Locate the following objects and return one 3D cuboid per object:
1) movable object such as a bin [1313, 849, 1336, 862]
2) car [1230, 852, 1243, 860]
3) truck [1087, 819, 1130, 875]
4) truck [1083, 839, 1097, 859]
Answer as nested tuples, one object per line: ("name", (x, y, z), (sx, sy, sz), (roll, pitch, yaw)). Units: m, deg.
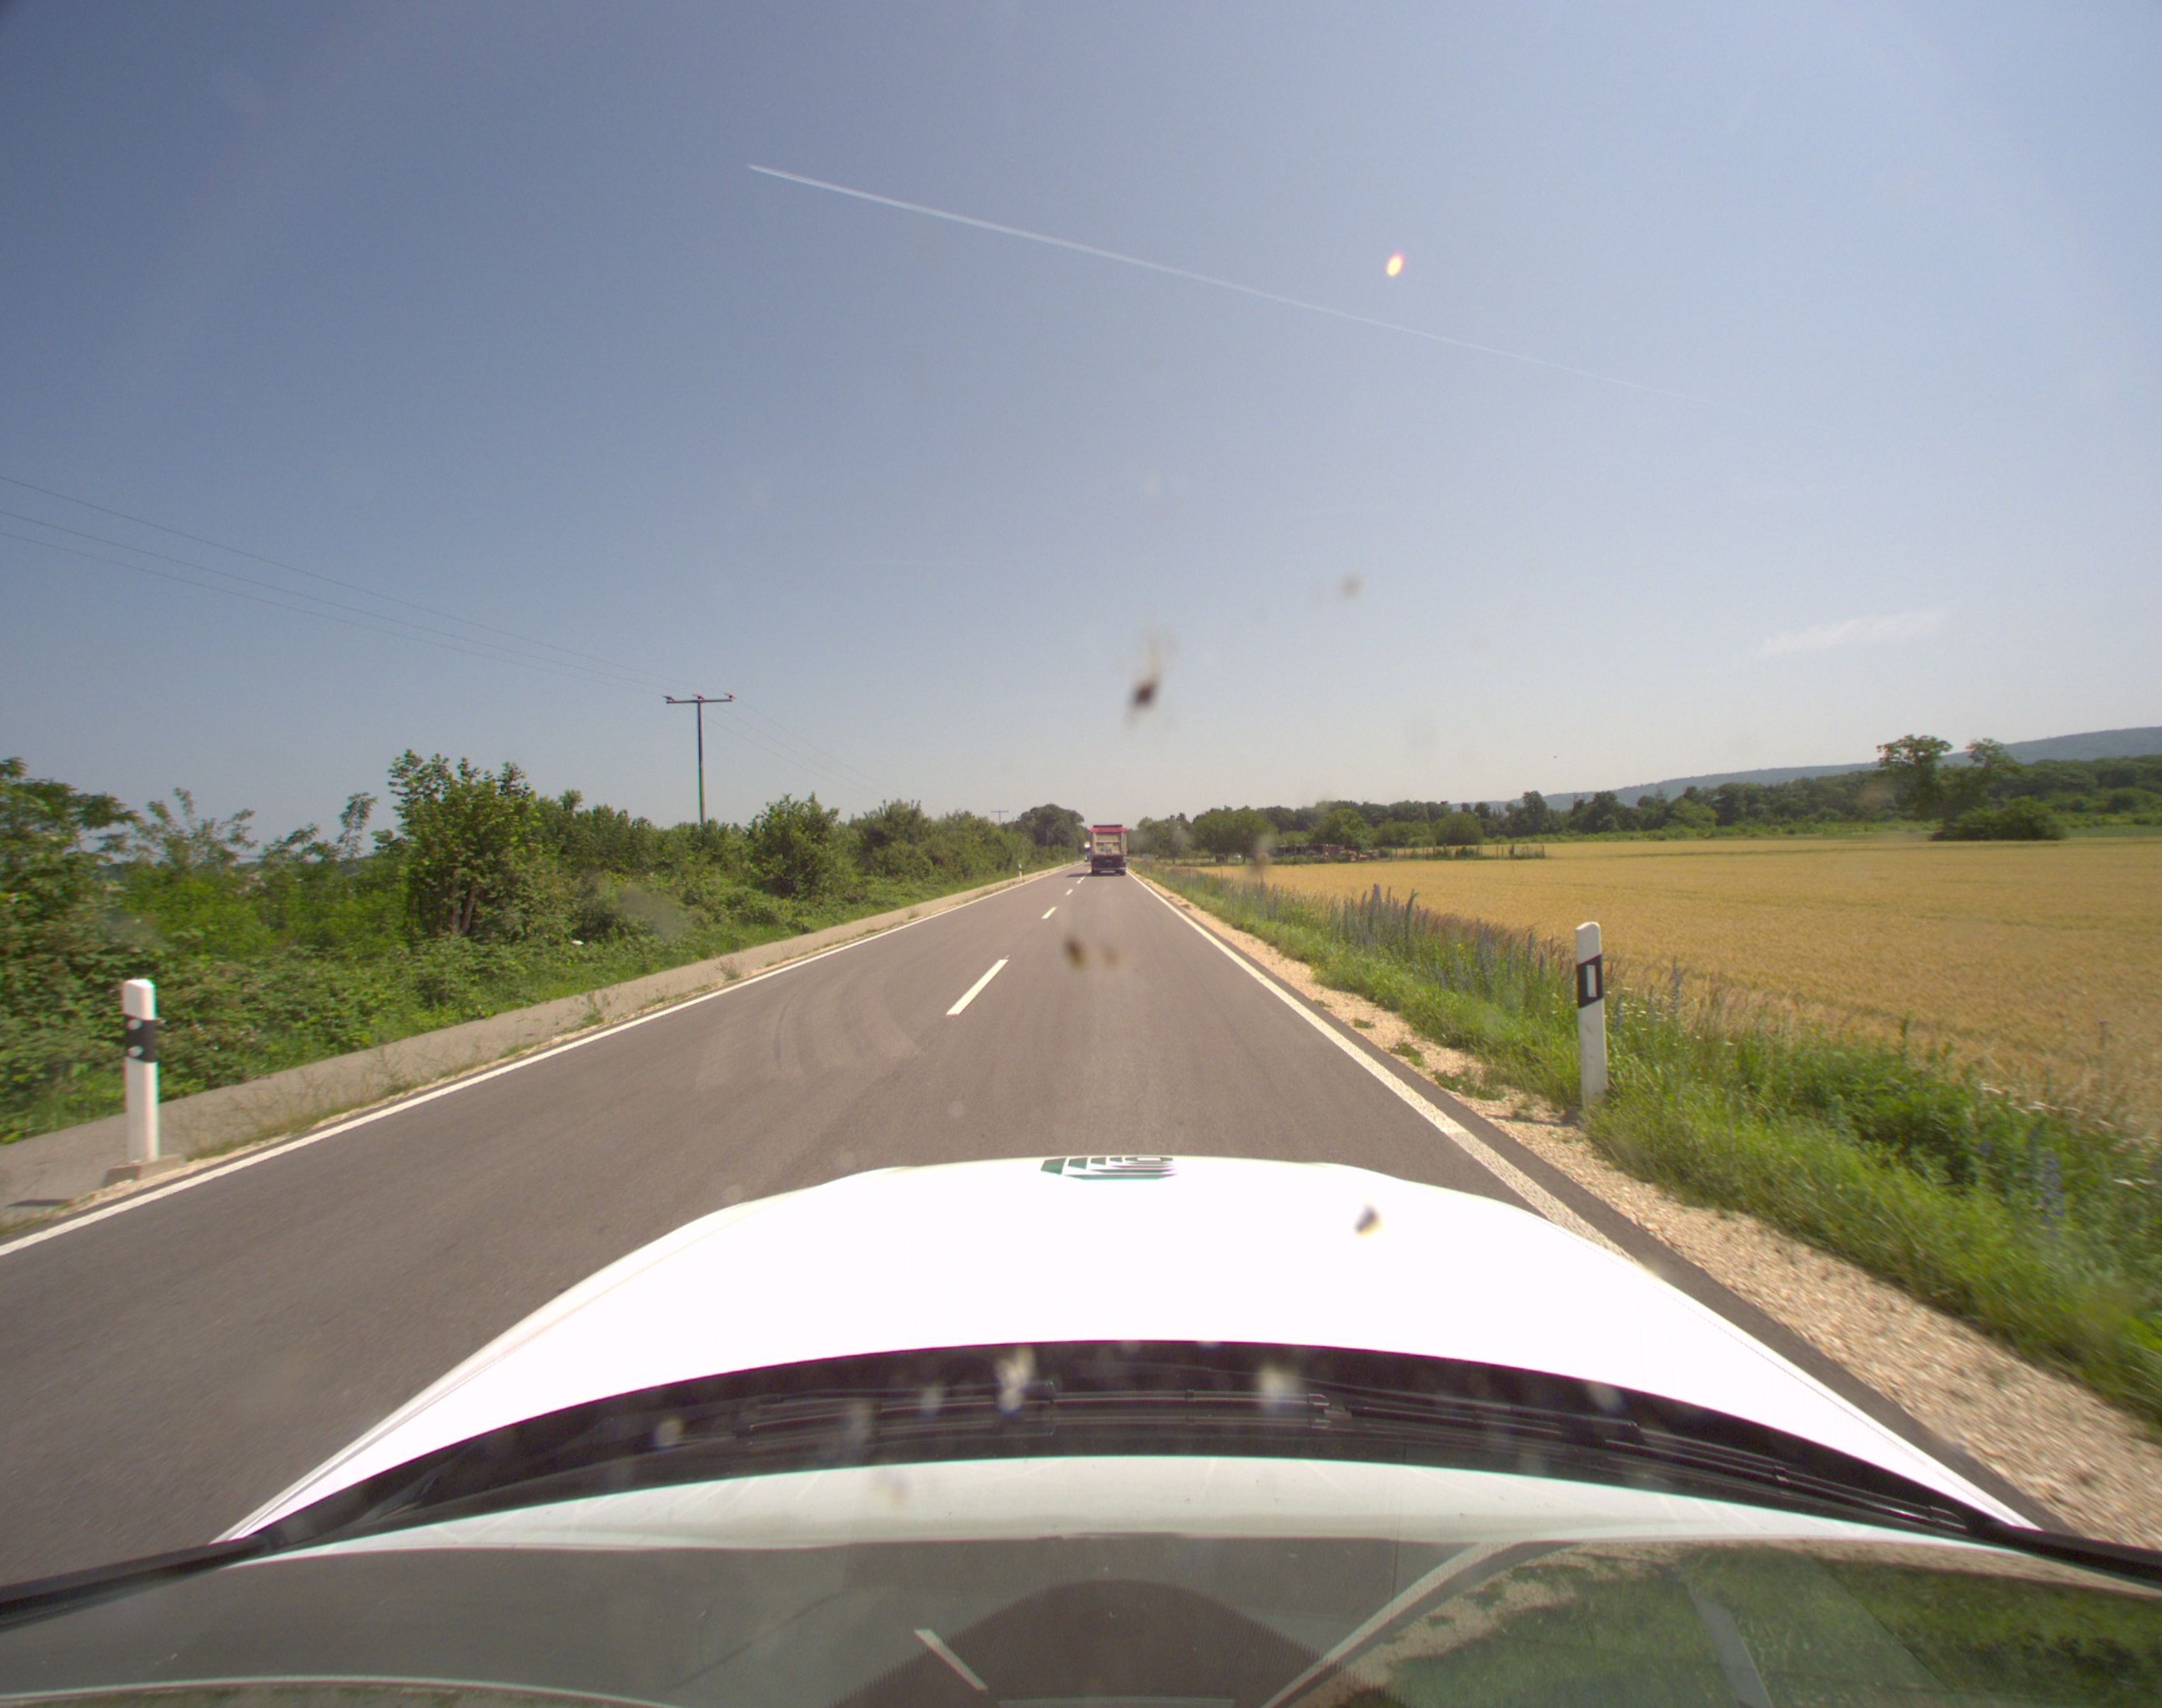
("movable object such as a bin", (29.972, 0.210, 100.218), (1.567, 1.496, 3.655), (-1, 0, -3))
("car", (32.853, 0.453, 172.219), (1.591, 1.486, 3.420), (-2, 1, -6))
("truck", (2.083, -0.440, 62.572), (2.998, 3.874, 12.213), (0, 0, 2))
("truck", (2.039, -1.123, 182.426), (2.707, 4.266, 7.392), (-3, 0, 2))
